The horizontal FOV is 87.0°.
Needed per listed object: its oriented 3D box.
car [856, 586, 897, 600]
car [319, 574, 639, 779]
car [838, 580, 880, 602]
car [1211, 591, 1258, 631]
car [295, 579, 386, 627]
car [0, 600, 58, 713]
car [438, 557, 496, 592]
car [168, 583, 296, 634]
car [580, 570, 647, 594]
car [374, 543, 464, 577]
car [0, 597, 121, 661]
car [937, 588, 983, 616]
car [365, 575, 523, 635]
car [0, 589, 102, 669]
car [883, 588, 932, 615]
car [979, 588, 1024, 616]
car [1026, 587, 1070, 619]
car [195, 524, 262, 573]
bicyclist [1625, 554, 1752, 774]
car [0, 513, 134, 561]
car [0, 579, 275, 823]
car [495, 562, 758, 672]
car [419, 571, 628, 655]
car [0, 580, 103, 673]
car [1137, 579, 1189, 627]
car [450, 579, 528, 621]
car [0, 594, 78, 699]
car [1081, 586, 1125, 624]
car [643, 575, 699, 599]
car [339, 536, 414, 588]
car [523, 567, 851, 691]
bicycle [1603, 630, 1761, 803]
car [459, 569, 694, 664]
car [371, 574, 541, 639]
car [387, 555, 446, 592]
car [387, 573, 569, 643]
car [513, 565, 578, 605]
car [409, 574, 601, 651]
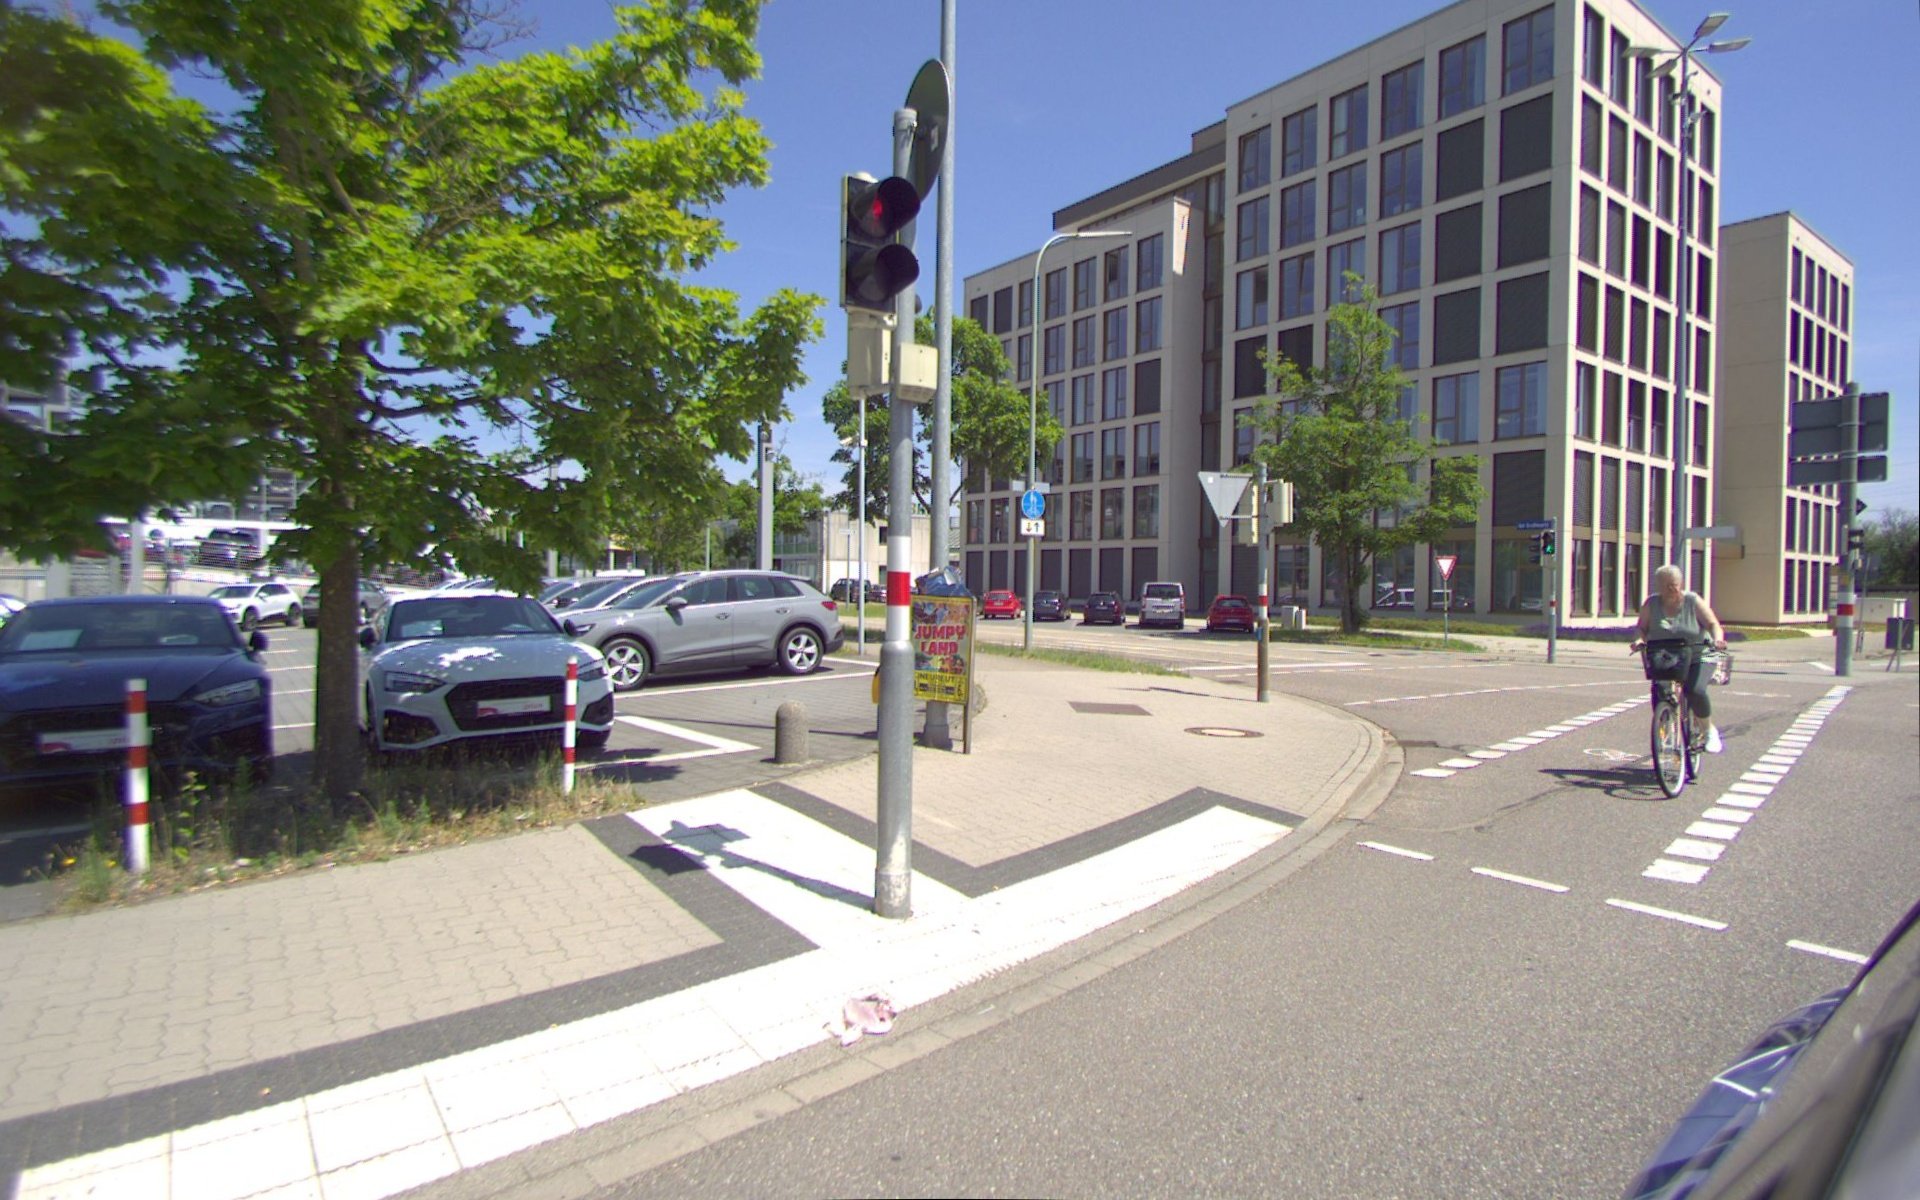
[{"bbox_3d":[-7.145,-0.583,86.253,1.663,1.171,3.999,0,-1,-35],"label":"car"},{"bbox_3d":[-4.664,0.571,9.376,1.834,1.408,4.604,0,-1,-36],"label":"car"},{"bbox_3d":[-8.380,-0.700,83.970,1.762,1.750,4.000,0,-1,-34],"label":"car"},{"bbox_3d":[10.929,0.389,40.480,1.674,1.450,3.985,0,1,13],"label":"car"},{"bbox_3d":[-21.715,0.058,35.634,1.653,1.523,3.810,-2,2,-15],"label":"car"},{"bbox_3d":[-15.210,0.798,13.415,4.625,1.535,1.881,0,-1,-34],"label":"car"},{"bbox_3d":[-26.221,-1.329,53.808,1.964,1.728,3.996,0,-1,-38],"label":"car"},{"bbox_3d":[-24.413,0.251,34.104,1.813,1.590,4.004,0,1,-7],"label":"car"},{"bbox_3d":[-37.563,-1.904,109.765,6.567,2.553,2.219,0,-1,-35],"label":"car"},{"bbox_3d":[-32.676,-2.408,61.154,4.506,1.910,1.912,0,1,-39],"label":"car"},{"bbox_3d":[-21.219,0.625,22.549,3.747,1.364,1.679,0,1,-35],"label":"car"},{"bbox_3d":[0.037,0.070,53.843,1.843,1.392,3.991,1,1,8],"label":"car"},{"bbox_3d":[-15.530,0.153,30.532,3.929,1.676,1.847,0,-1,-42],"label":"car"},{"bbox_3d":[-19.854,0.563,20.253,3.924,1.560,1.857,0,1,-35],"label":"car"},{"bbox_3d":[-2.776,0.064,54.571,1.888,1.349,3.991,1,1,8],"label":"car"},{"bbox_3d":[2.175,0.065,51.597,1.888,1.370,3.991,1,1,8],"label":"car"},{"bbox_3d":[4.303,0.121,49.262,1.888,1.457,3.991,1,1,8],"label":"car"},{"bbox_3d":[-28.068,-1.909,38.954,1.877,1.729,4.591,0,1,-34],"label":"car"},{"bbox_3d":[5.742,0.474,7.974,0.811,1.626,0.628,1,-1,-42],"label":"bicyclist"},{"bbox_3d":[-36.826,-2.563,41.787,4.082,1.743,1.909,0,1,-45],"label":"car"},{"bbox_3d":[-6.445,0.626,7.738,1.834,1.408,4.107,0,-1,-37],"label":"car"},{"bbox_3d":[-5.663,0.266,17.286,3.922,1.676,1.850,0,-1,-34],"label":"car"},{"bbox_3d":[-9.225,0.288,21.561,3.751,1.637,1.639,2,-1,-42],"label":"car"},{"bbox_3d":[-18.415,0.497,18.289,4.260,1.648,1.881,0,-1,-34],"label":"car"},{"bbox_3d":[8.655,0.106,43.481,1.888,1.910,4.921,1,0,8],"label":"car"},{"bbox_3d":[-18.509,-0.057,39.942,1.812,1.490,4.626,1,1,-13],"label":"car"},{"bbox_3d":[-16.764,0.760,15.850,4.225,1.648,1.881,0,-1,-34],"label":"car"},{"bbox_3d":[6.488,0.189,45.904,1.888,1.609,3.991,1,1,8],"label":"car"},{"bbox_3d":[-25.847,-1.139,90.526,4.491,2.039,1.999,0,-1,-36],"label":"car"},{"bbox_3d":[-24.161,-1.528,41.796,1.879,1.991,5.247,0,1,-39],"label":"car"},{"bbox_3d":[-4.029,0.313,15.271,4.420,1.577,1.874,-2,3,-36],"label":"car"},{"bbox_3d":[5.713,0.845,7.964,1.862,1.147,0.629,0,1,-42],"label":"bicycle"},{"bbox_3d":[-7.438,0.301,19.808,3.929,1.676,1.847,0,-1,-42],"label":"car"},{"bbox_3d":[-14.007,0.187,28.230,3.929,1.676,1.847,0,-1,-42],"label":"car"},{"bbox_3d":[-28.006,-1.344,52.095,1.964,1.728,3.996,0,-1,-38],"label":"car"},{"bbox_3d":[-12.467,0.205,26.295,3.929,1.676,1.847,0,-1,-42],"label":"car"},{"bbox_3d":[-18.831,-0.707,45.897,1.877,1.716,4.591,0,1,-33],"label":"car"},{"bbox_3d":[-10.663,0.269,23.852,3.843,1.675,1.631,0,0,-42],"label":"car"}]
